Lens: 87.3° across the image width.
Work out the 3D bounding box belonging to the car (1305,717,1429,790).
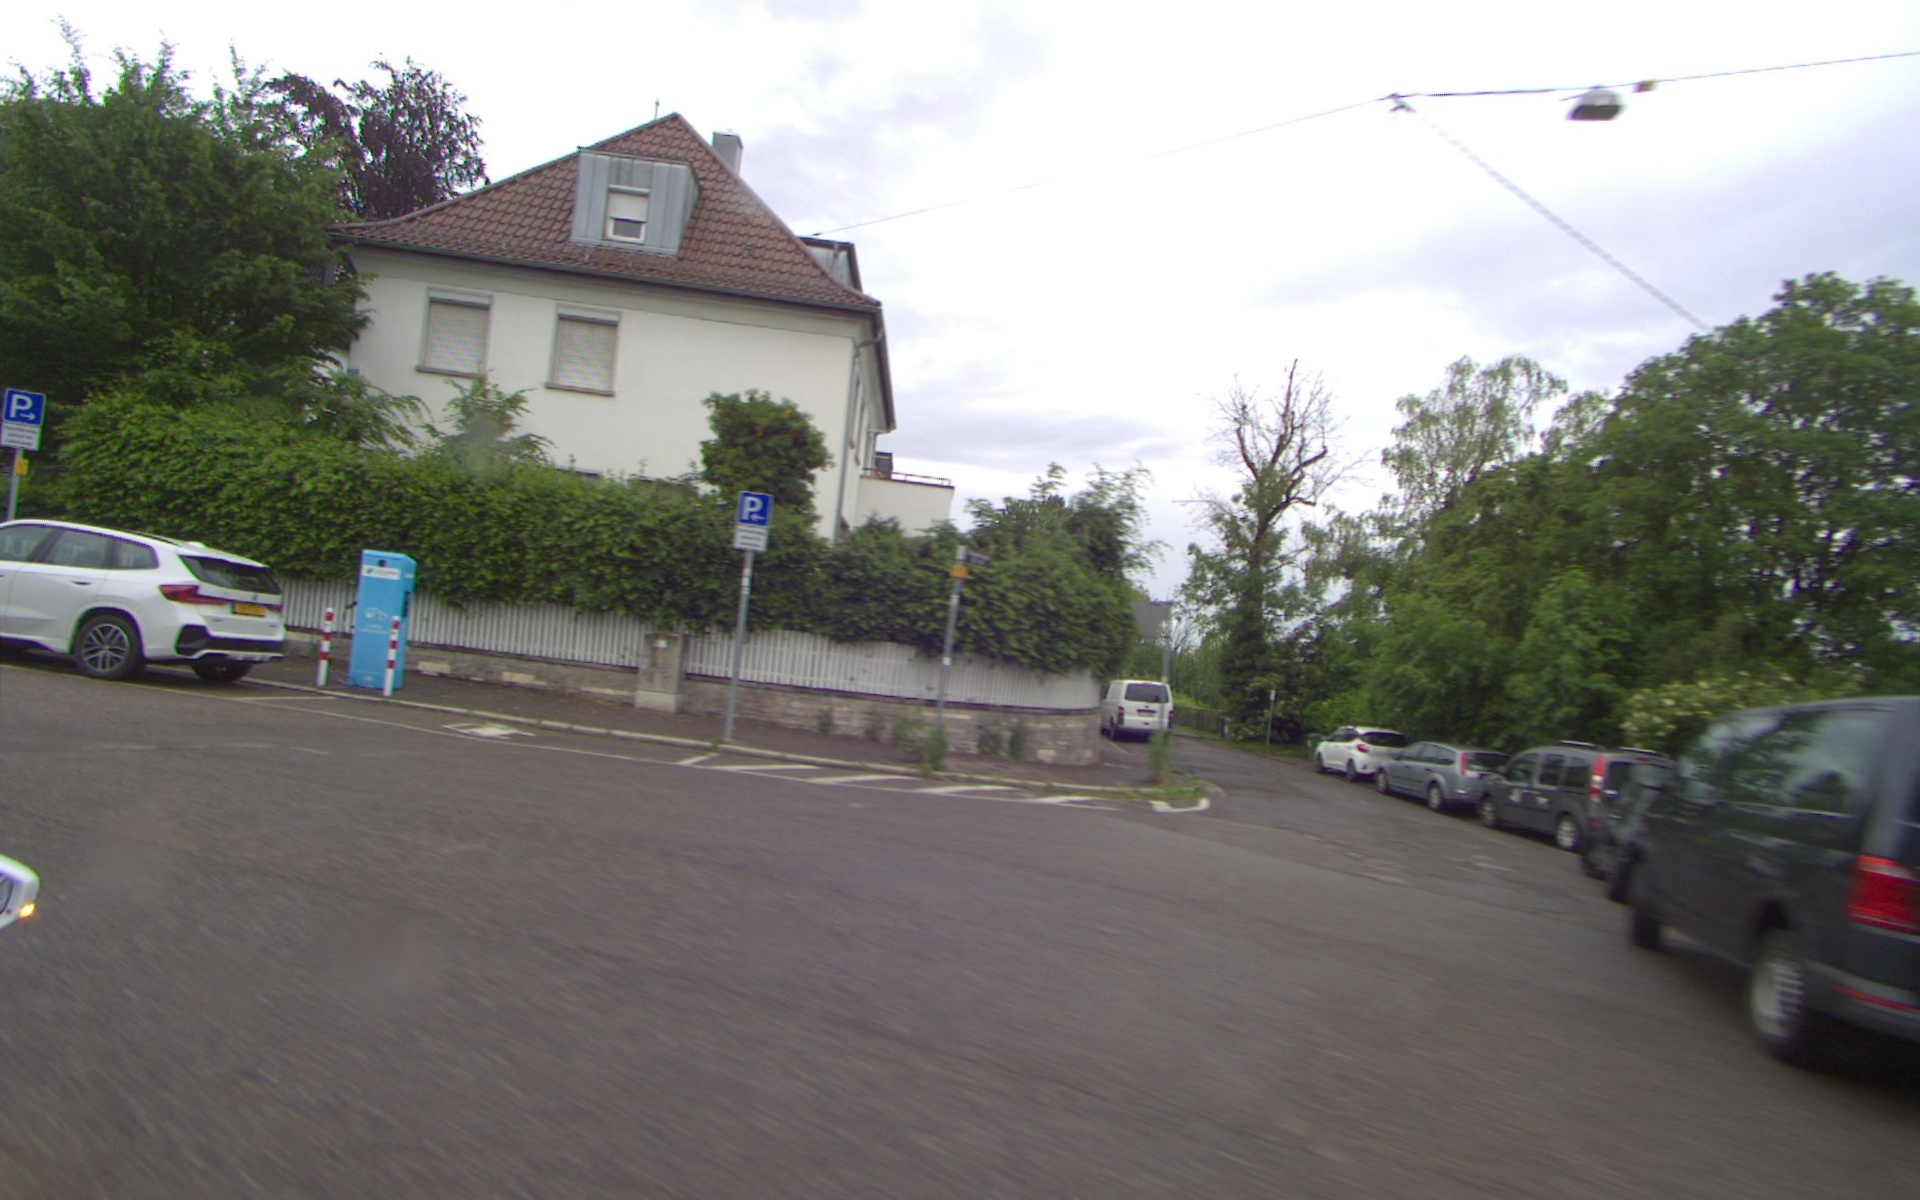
[{"bbox_3d":[11.495,4.304,28.718,1.739,1.479,4.005,8,-3,0],"label":"car"}]

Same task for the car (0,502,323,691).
[{"bbox_3d":[-10.255,-0.143,11.548,4.562,1.690,1.752,8,-3,0],"label":"car"}]

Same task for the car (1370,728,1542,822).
[{"bbox_3d":[11.261,3.940,23.182,1.739,1.479,4.004,8,-3,-2],"label":"car"}]

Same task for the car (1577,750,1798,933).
[{"bbox_3d":[7.988,2.593,11.304,1.300,1.455,3.273,11,-4,28],"label":"car"}]

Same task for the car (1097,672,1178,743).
[{"bbox_3d":[5.830,3.518,33.468,1.791,2.036,4.005,4,-3,-1],"label":"car"}]

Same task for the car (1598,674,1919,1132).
[{"bbox_3d":[5.811,1.602,6.417,1.905,1.970,4.925,6,-2,22],"label":"car"}]

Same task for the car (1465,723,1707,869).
[{"bbox_3d":[11.155,3.418,18.300,1.739,1.880,4.005,7,-3,1],"label":"car"}]
